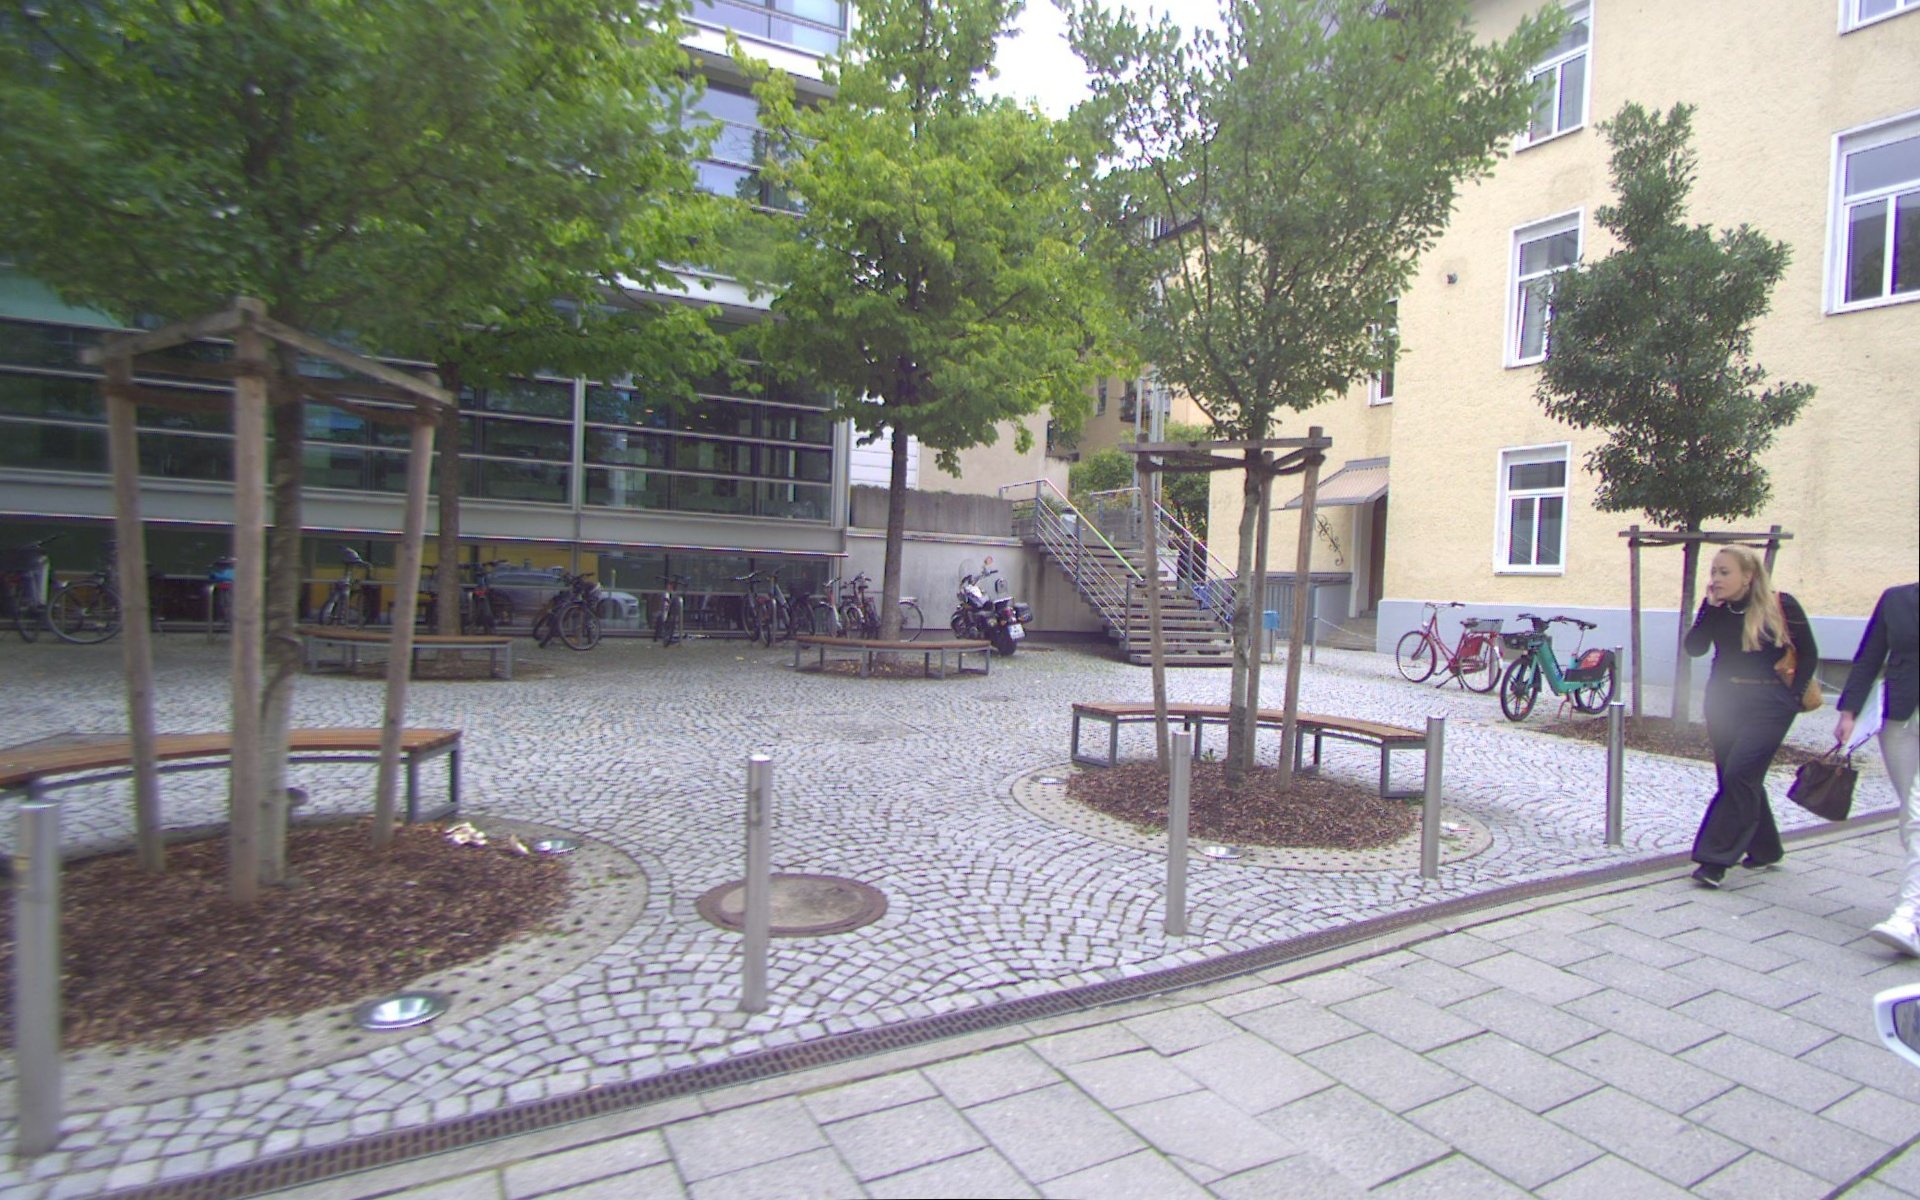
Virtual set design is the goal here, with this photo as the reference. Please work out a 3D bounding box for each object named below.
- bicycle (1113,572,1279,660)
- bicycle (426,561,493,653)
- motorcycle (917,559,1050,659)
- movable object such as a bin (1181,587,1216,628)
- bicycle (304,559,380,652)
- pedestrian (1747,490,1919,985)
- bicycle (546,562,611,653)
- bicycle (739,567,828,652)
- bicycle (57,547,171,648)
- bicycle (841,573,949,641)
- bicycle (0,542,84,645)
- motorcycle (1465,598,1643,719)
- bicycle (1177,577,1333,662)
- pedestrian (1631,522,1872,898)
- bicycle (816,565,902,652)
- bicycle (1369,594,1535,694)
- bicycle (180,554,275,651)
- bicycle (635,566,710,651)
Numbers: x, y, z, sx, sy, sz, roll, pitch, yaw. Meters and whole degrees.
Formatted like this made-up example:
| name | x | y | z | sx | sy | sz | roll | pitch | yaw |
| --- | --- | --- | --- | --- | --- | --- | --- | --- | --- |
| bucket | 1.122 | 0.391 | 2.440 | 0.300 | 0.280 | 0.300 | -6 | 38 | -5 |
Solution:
| name | x | y | z | sx | sy | sz | roll | pitch | yaw |
| --- | --- | --- | --- | --- | --- | --- | --- | --- | --- |
| bicycle | 3.919 | 0.224 | 17.128 | 0.757 | 1.268 | 3.209 | 1 | 3 | -29 |
| bicycle | -6.396 | 0.063 | 12.911 | 0.695 | 1.073 | 1.891 | 2 | 2 | -25 |
| motorcycle | 0.299 | 0.101 | 15.733 | 0.957 | 1.431 | 2.656 | 2 | 1 | -25 |
| movable object such as a bin | 5.857 | 0.183 | 24.668 | 0.641 | 0.984 | 0.475 | 1 | 3 | -26 |
| bicycle | -7.589 | 0.041 | 12.387 | 0.620 | 1.074 | 1.566 | 1 | 2 | -26 |
| pedestrian | 3.974 | 0.523 | 4.144 | 0.980 | 1.861 | 0.772 | 1 | 1 | -30 |
| bicycle | -5.177 | 0.065 | 13.575 | 0.657 | 1.121 | 1.891 | 2 | 2 | -25 |
| bicycle | -2.642 | 0.115 | 14.871 | 0.815 | 1.141 | 1.891 | 2 | 2 | -25 |
| bicycle | -9.707 | -0.049 | 11.578 | 0.620 | 1.074 | 1.566 | 1 | 2 | -26 |
| bicycle | -1.091 | 0.130 | 16.939 | 1.771 | 1.106 | 0.414 | 1 | 1 | -26 |
| bicycle | -10.462 | -0.095 | 11.214 | 0.620 | 1.074 | 1.566 | 1 | 2 | -26 |
| motorcycle | 6.376 | 0.619 | 10.755 | 1.954 | 1.188 | 0.574 | 2 | 2 | -25 |
| bicycle | 5.051 | 0.289 | 17.467 | 0.757 | 1.268 | 2.839 | 1 | 3 | -29 |
| pedestrian | 3.909 | 0.496 | 4.960 | 0.986 | 1.682 | 0.549 | 1 | 1 | -30 |
| bicycle | -1.574 | 0.101 | 15.369 | 0.689 | 1.220 | 1.891 | 2 | 2 | -25 |
| bicycle | 6.658 | 0.562 | 13.728 | 0.737 | 1.188 | 1.968 | 2 | 2 | -25 |
| bicycle | -8.689 | 0.004 | 11.967 | 0.620 | 1.074 | 1.566 | 1 | 2 | -26 |
| bicycle | -4.082 | 0.094 | 14.157 | 0.698 | 1.090 | 1.891 | 2 | 2 | -25 |
